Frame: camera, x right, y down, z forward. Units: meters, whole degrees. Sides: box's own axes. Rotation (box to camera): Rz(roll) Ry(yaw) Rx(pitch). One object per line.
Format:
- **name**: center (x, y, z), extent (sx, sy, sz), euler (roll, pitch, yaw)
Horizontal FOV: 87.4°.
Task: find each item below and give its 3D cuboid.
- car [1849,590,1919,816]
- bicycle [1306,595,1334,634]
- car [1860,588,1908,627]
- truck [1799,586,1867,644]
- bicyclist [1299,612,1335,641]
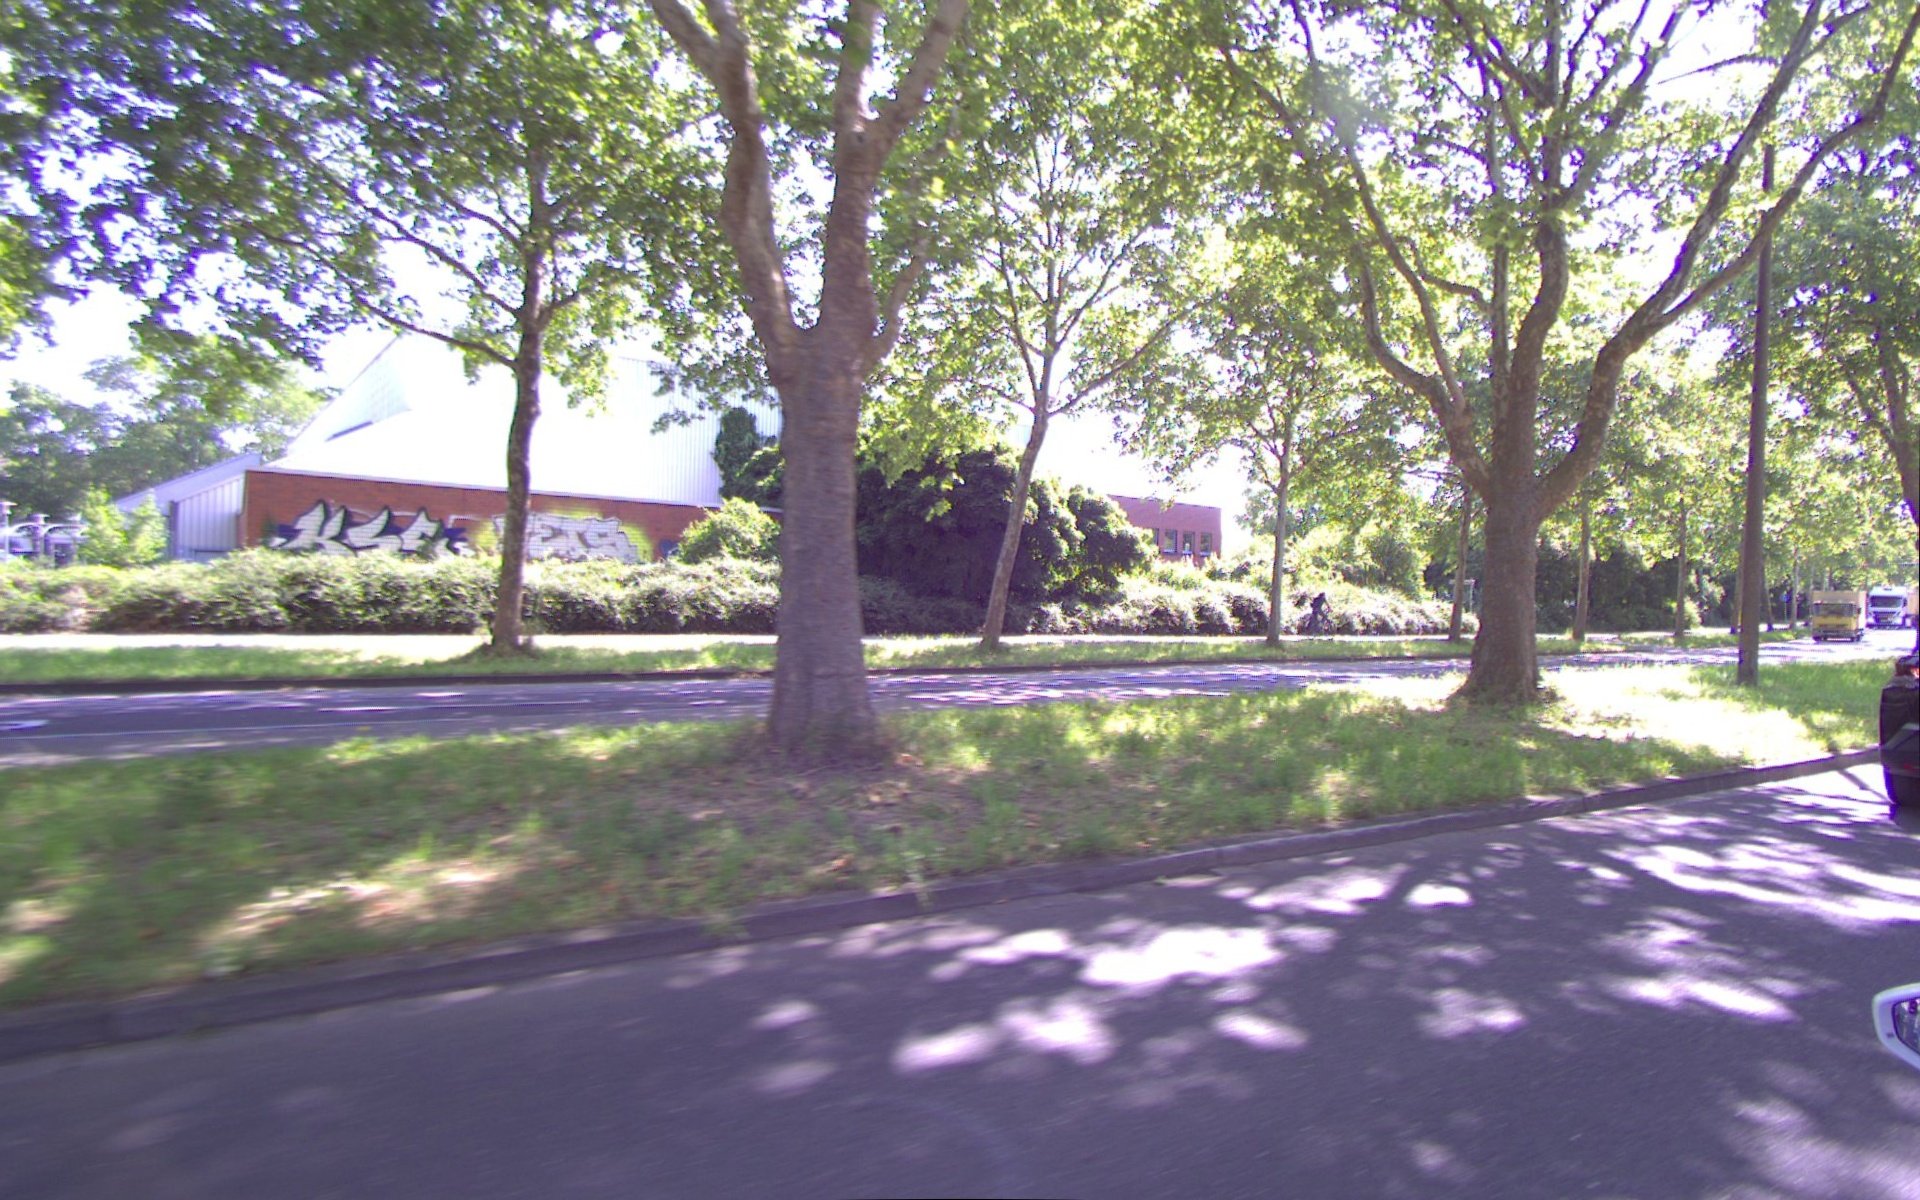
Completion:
- **car**: center (9.449, 0.824, 8.408), extent (4.386, 1.719, 1.862), euler (1, -1, -32)
- **bicycle**: center (13.338, 0.536, 37.237), extent (0.944, 1.403, 0.426), euler (1, 1, -30)
- **car**: center (88.135, 0.656, 95.738), extent (7.042, 3.496, 2.429), euler (0, 3, -41)
- **truck**: center (56.981, 0.878, 65.512), extent (7.047, 3.496, 2.427), euler (0, 4, -43)
- **bicyclist**: center (13.206, 0.993, 37.176), extent (1.408, 1.027, 0.426), euler (1, 1, -30)
